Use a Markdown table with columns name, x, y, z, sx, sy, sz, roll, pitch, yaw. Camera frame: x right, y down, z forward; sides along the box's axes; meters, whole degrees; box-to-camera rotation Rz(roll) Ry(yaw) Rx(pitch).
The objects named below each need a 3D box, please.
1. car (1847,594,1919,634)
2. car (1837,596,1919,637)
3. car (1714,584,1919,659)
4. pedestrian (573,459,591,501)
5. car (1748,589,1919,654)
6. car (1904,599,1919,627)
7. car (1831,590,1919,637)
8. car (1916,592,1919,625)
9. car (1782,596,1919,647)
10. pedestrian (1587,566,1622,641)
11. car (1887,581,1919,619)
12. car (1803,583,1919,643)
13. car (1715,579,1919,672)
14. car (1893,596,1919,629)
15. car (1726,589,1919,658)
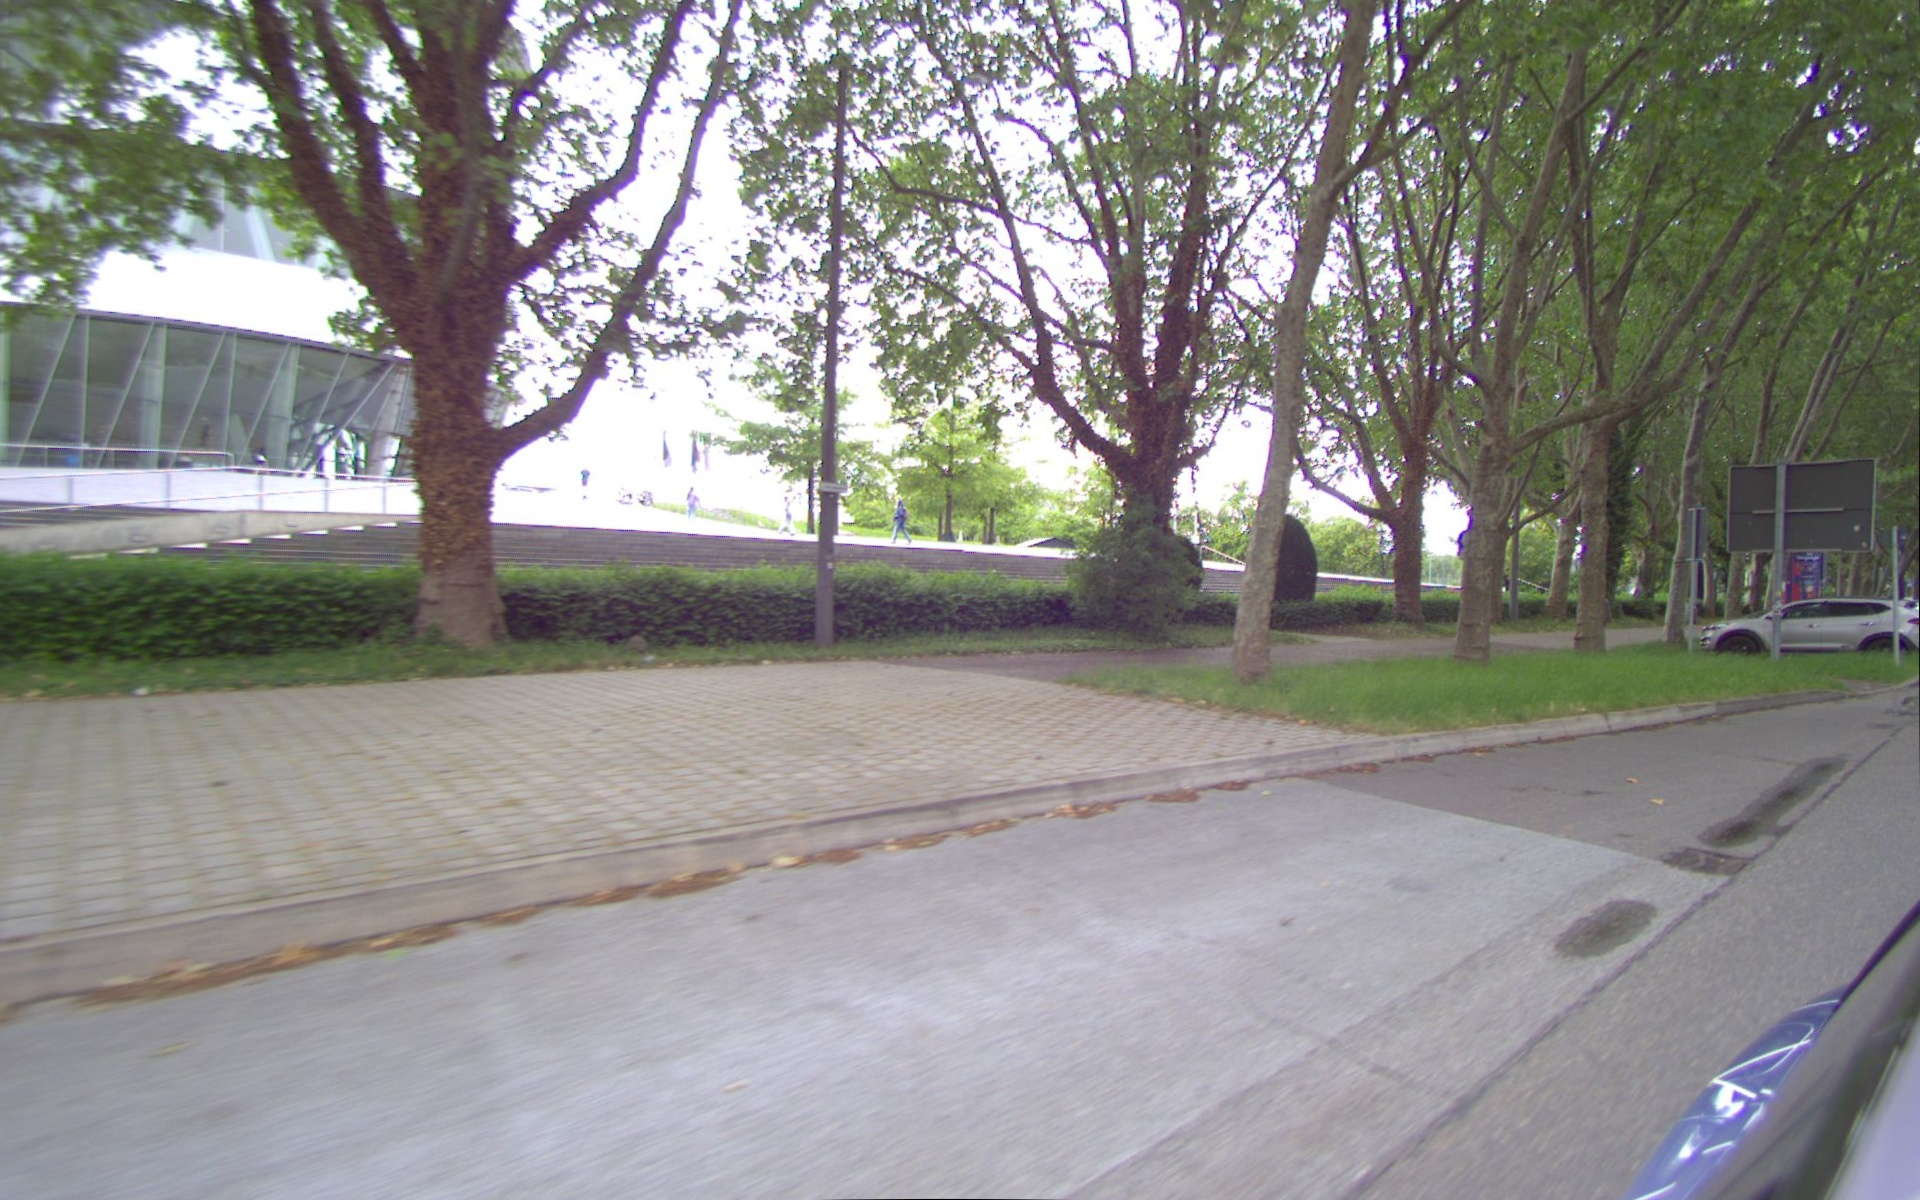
| name | x | y | z | sx | sy | sz | roll | pitch | yaw |
| --- | --- | --- | --- | --- | --- | --- | --- | --- | --- |
| car | 40.485 | 0.609 | 42.546 | 1.839 | 1.660 | 4.600 | 1 | 0 | -40 |
| car | 35.257 | 0.610 | 37.376 | 1.697 | 1.476 | 4.155 | 0 | 0 | -41 |
| car | 20.775 | 0.464 | 24.014 | 1.892 | 1.654 | 4.353 | 1 | 0 | -41 |
| pedestrian | -17.206 | -5.436 | 46.052 | 0.667 | 1.787 | 0.838 | 0 | 1 | -26 |
| car | 24.279 | 0.541 | 27.435 | 1.892 | 1.654 | 4.353 | 1 | 0 | -41 |
| car | 51.584 | 0.679 | 51.886 | 1.898 | 1.446 | 4.502 | 0 | 0 | -41 |
| car | 36.823 | 0.521 | 39.366 | 1.806 | 1.768 | 4.350 | 1 | 0 | -43 |
| car | 55.046 | 0.524 | 54.917 | 2.012 | 1.819 | 4.501 | 1 | 0 | -42 |
| car | 27.919 | 0.642 | 30.754 | 1.917 | 1.474 | 4.350 | 1 | 0 | -43 |
| pedestrian | 17.811 | 0.096 | 27.997 | 0.781 | 2.039 | 0.592 | 1 | 1 | 32 |
| car | 48.244 | 0.024 | 49.172 | 2.010 | 1.819 | 4.507 | 1 | 0 | -38 |
| car | 29.774 | 0.411 | 32.167 | 1.893 | 1.782 | 4.351 | 0 | 2 | -43 |
| car | 20.662 | 0.550 | 24.097 | 1.965 | 2.039 | 3.993 | 1 | 0 | -41 |
| car | 45.720 | 0.592 | 46.233 | 1.890 | 1.521 | 4.356 | 1 | 0 | -39 |
| car | 22.520 | 0.554 | 25.927 | 1.892 | 1.625 | 4.353 | 1 | 0 | -41 |
